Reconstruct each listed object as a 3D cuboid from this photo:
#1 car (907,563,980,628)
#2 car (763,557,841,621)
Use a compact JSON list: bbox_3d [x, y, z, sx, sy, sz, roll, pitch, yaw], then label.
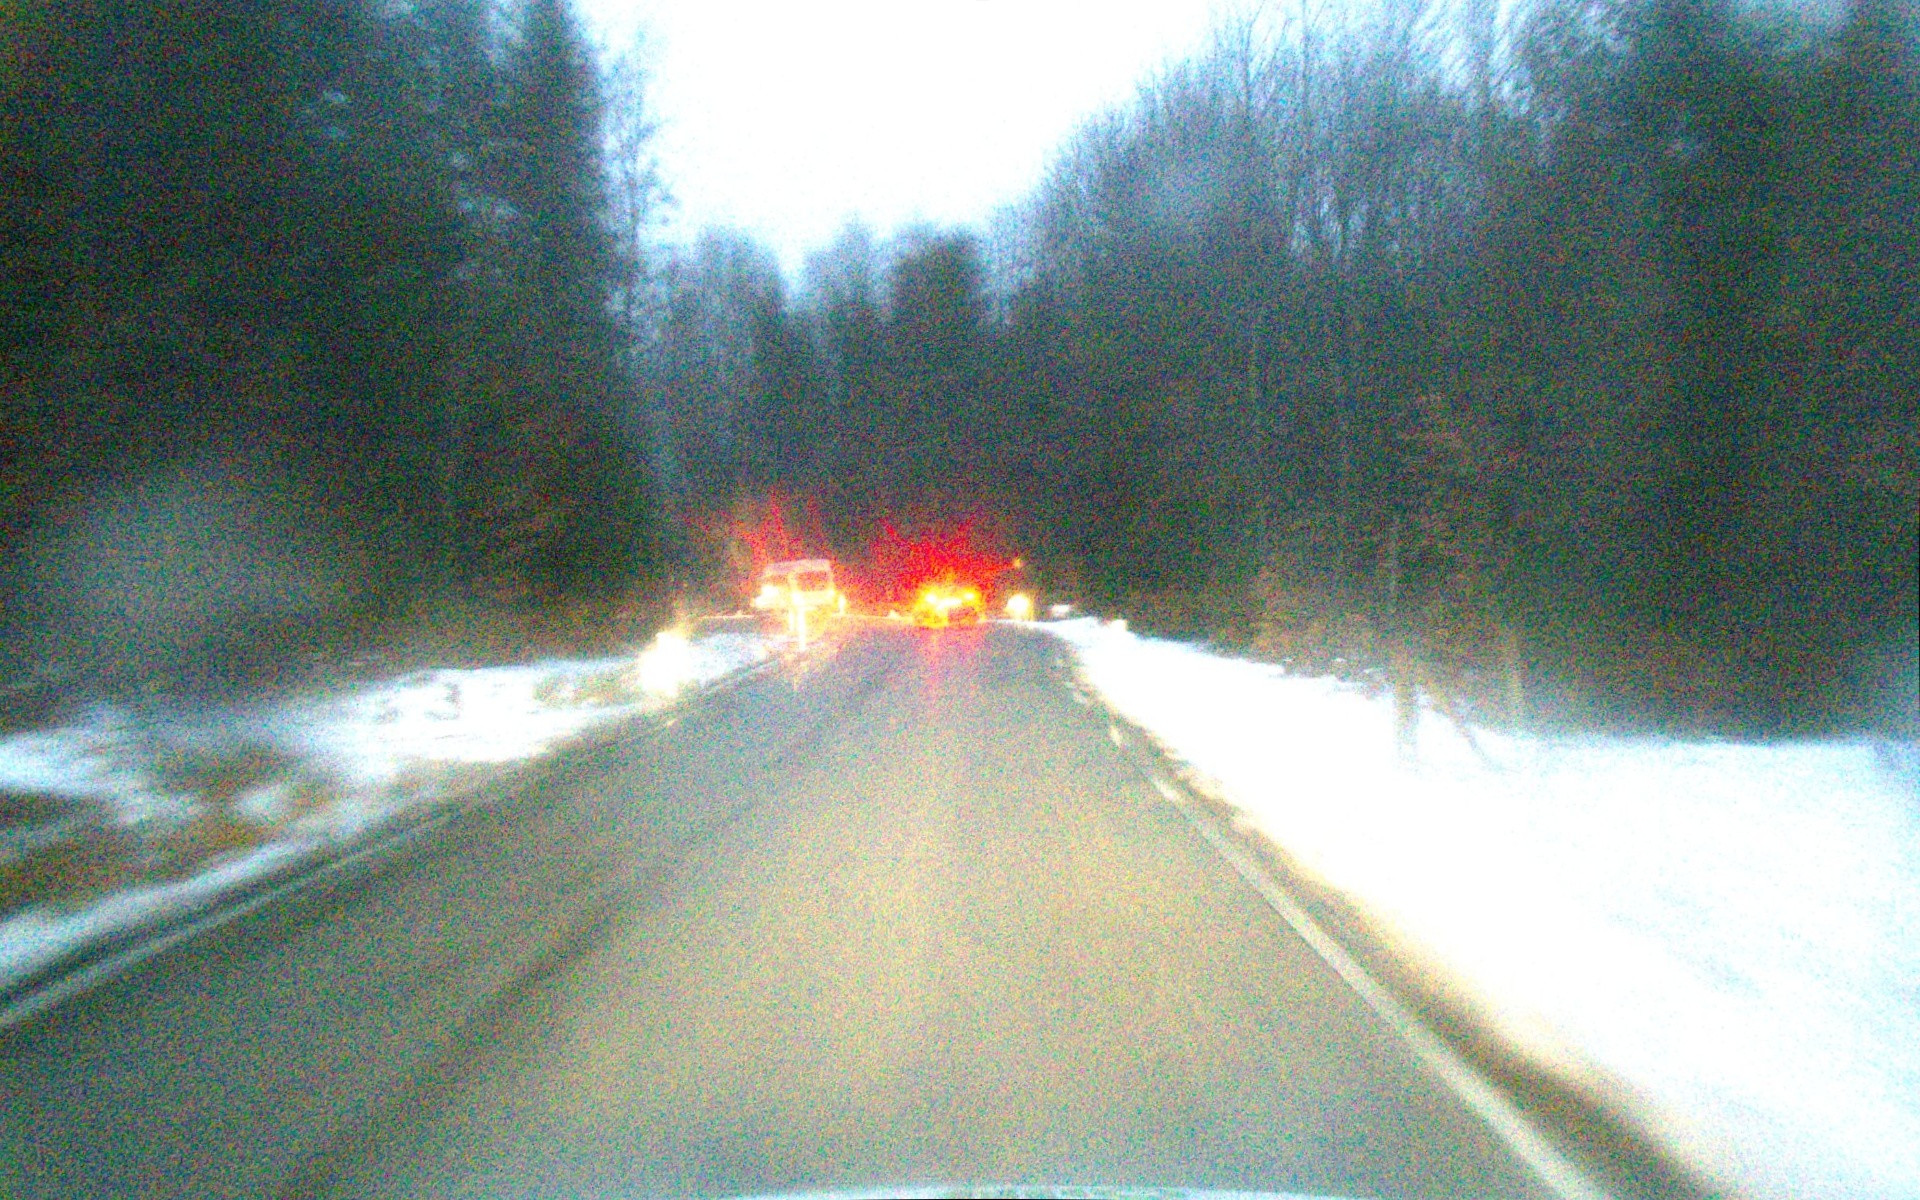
[{"bbox_3d":[-0.584,-0.173,55.450,1.956,2.087,3.994,-1,1,-7],"label":"car"},{"bbox_3d":[-7.069,-0.505,73.598,2.219,2.691,4.977,-2,1,-20],"label":"car"}]
